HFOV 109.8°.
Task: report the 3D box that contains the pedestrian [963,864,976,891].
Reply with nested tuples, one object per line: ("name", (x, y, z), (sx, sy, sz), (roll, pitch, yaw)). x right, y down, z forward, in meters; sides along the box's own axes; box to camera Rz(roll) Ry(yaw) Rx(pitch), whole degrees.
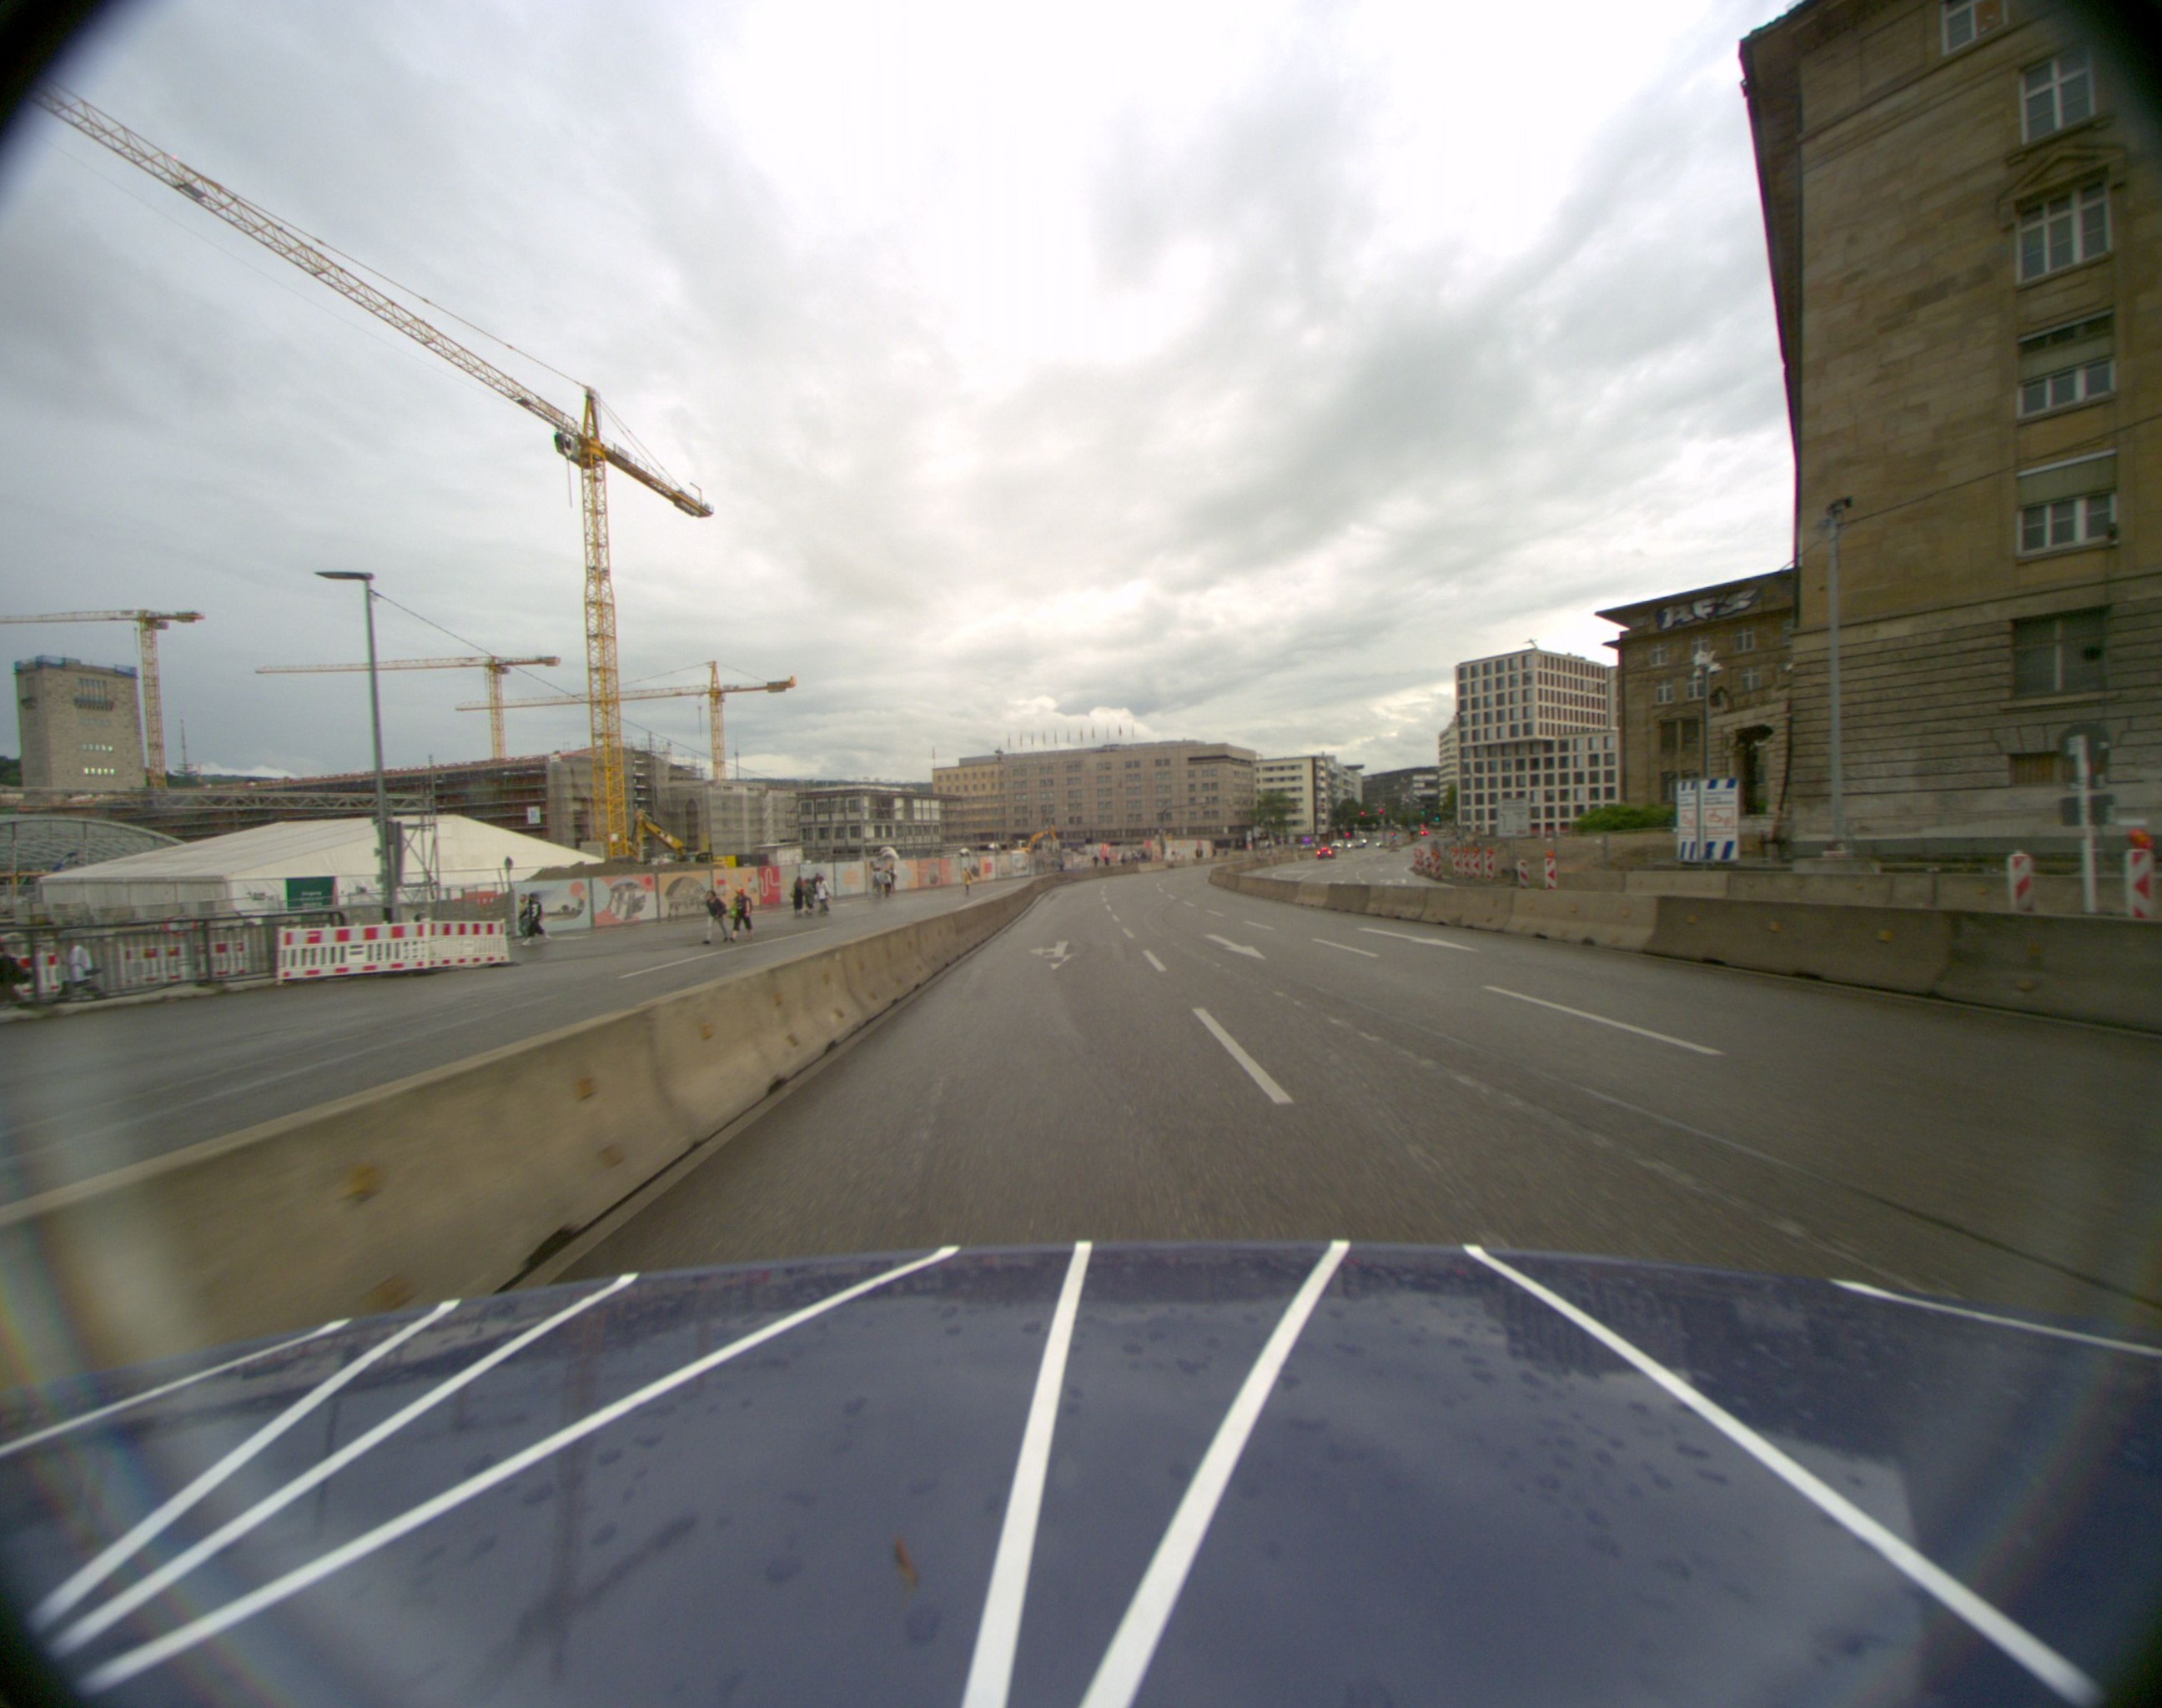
("pedestrian", (-6.874, 1.453, 46.854), (0.648, 1.623, 0.907), (-2, 2, 0))

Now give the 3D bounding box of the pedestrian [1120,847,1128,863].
("pedestrian", (4.751, 0.134, 83.291), (0.654, 1.681, 0.777), (0, 2, 24))

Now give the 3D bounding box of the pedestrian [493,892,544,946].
("pedestrian", (-18.838, 2.153, 25.457), (0.866, 1.680, 1.010), (-1, 2, 29))

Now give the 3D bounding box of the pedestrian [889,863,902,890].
("pedestrian", (-11.849, 1.440, 48.643), (0.567, 1.738, 0.495), (-1, 2, 18))

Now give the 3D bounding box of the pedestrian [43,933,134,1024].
("pedestrian", (-21.820, 2.701, 16.716), (0.866, 1.771, 1.010), (-1, 2, 29))

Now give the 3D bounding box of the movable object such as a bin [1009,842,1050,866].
("movable object such as a bin", (-5.801, -0.061, 85.961), (4.135, 2.521, 1.995), (-3, 2, -35))

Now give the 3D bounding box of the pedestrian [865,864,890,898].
("pedestrian", (-11.360, 1.495, 42.442), (0.818, 1.838, 0.933), (-1, 2, 36))

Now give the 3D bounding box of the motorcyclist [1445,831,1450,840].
("motorcyclist", (65.890, -3.344, 136.474), (0.703, 1.478, 0.964), (-1, 2, 21))

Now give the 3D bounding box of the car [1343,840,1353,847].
("car", (63.616, -2.554, 180.949), (1.995, 1.445, 4.005), (-1, 1, 22))

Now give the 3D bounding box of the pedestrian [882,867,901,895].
("pedestrian", (-11.113, 1.578, 44.540), (0.647, 1.544, 0.767), (-1, 2, 36))

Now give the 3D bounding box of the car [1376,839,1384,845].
("car", (71.406, -2.850, 181.395), (1.789, 1.445, 3.677), (-1, 1, 22))

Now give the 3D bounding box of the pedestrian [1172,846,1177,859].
("pedestrian", (12.702, -0.195, 103.413), (0.648, 1.660, 0.766), (0, 2, 11))

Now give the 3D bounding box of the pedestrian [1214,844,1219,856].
("pedestrian", (21.264, -0.639, 119.440), (0.756, 1.751, 0.766), (0, 2, 11))

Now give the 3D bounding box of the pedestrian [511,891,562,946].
("pedestrian", (-17.920, 2.098, 25.016), (0.866, 1.716, 1.010), (-1, 2, 29))

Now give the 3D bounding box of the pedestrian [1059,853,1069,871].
("pedestrian", (-1.607, 0.773, 72.682), (0.746, 1.696, 0.687), (0, 2, 14))

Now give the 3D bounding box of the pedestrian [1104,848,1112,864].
("pedestrian", (2.860, 0.200, 79.565), (0.648, 1.637, 0.948), (0, 2, 14))

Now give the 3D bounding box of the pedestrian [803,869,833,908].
("pedestrian", (-12.836, 1.666, 37.071), (0.867, 1.807, 1.009), (-1, 2, 19))

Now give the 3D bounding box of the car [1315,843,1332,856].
("car", (30.420, -0.563, 95.315), (1.768, 1.512, 4.392), (-1, 1, 20))

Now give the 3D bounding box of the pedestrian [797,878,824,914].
("pedestrian", (-11.927, 1.842, 33.493), (0.609, 1.514, 0.886), (-1, 2, 19))

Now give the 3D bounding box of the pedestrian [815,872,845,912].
("pedestrian", (-11.090, 1.680, 33.576), (0.778, 1.713, 0.892), (-1, 2, 19))

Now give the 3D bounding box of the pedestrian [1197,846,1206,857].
("pedestrian", (18.569, -0.373, 117.135), (1.097, 1.751, 0.907), (1, 2, 27))

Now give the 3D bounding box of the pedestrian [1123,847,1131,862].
("pedestrian", (5.145, 0.087, 84.599), (0.654, 1.681, 0.777), (0, 2, 24))

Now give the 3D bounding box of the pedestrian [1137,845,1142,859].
("pedestrian", (6.950, -0.226, 90.402), (0.585, 1.699, 0.677), (0, 2, 11))

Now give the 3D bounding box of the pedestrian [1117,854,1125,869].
("pedestrian", (4.550, 0.832, 86.038), (0.654, 1.681, 0.777), (0, 2, 24))

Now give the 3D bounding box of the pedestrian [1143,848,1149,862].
("pedestrian", (7.928, 0.087, 93.116), (0.648, 1.751, 0.584), (0, 2, 11))

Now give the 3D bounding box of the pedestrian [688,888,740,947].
("pedestrian", (-10.489, 1.799, 21.720), (0.861, 1.584, 0.954), (-1, 2, 27))

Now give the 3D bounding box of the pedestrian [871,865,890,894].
("pedestrian", (-11.813, 1.496, 44.856), (0.647, 1.646, 0.767), (-1, 2, 36))

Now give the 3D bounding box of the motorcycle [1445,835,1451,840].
("motorcycle", (65.953, -2.903, 136.577), (0.703, 0.887, 1.825), (-1, 1, 21))

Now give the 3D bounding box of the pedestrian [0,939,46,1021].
("pedestrian", (-23.136, 2.718, 16.256), (0.866, 1.627, 1.010), (-1, 2, 29))

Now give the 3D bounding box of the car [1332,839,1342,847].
("car", (62.056, -2.672, 183.919), (1.995, 1.814, 4.005), (-1, 1, 22))

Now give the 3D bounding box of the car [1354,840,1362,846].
("car", (64.656, -2.558, 177.375), (1.706, 1.445, 3.800), (-1, 1, 22))

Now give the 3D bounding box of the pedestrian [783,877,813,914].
("pedestrian", (-12.566, 1.833, 33.776), (0.715, 1.544, 1.009), (-1, 2, 19))

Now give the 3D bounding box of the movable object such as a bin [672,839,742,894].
("movable object such as a bin", (-24.394, 0.769, 49.692), (1.941, 3.390, 4.232), (-2, 1, 7))

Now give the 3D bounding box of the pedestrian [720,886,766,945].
("pedestrian", (-9.605, 1.745, 21.618), (0.732, 1.566, 0.806), (-3, 1, 28))

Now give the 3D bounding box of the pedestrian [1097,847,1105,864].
("pedestrian", (2.112, 0.164, 79.563), (0.648, 1.733, 0.766), (0, 2, 14))
